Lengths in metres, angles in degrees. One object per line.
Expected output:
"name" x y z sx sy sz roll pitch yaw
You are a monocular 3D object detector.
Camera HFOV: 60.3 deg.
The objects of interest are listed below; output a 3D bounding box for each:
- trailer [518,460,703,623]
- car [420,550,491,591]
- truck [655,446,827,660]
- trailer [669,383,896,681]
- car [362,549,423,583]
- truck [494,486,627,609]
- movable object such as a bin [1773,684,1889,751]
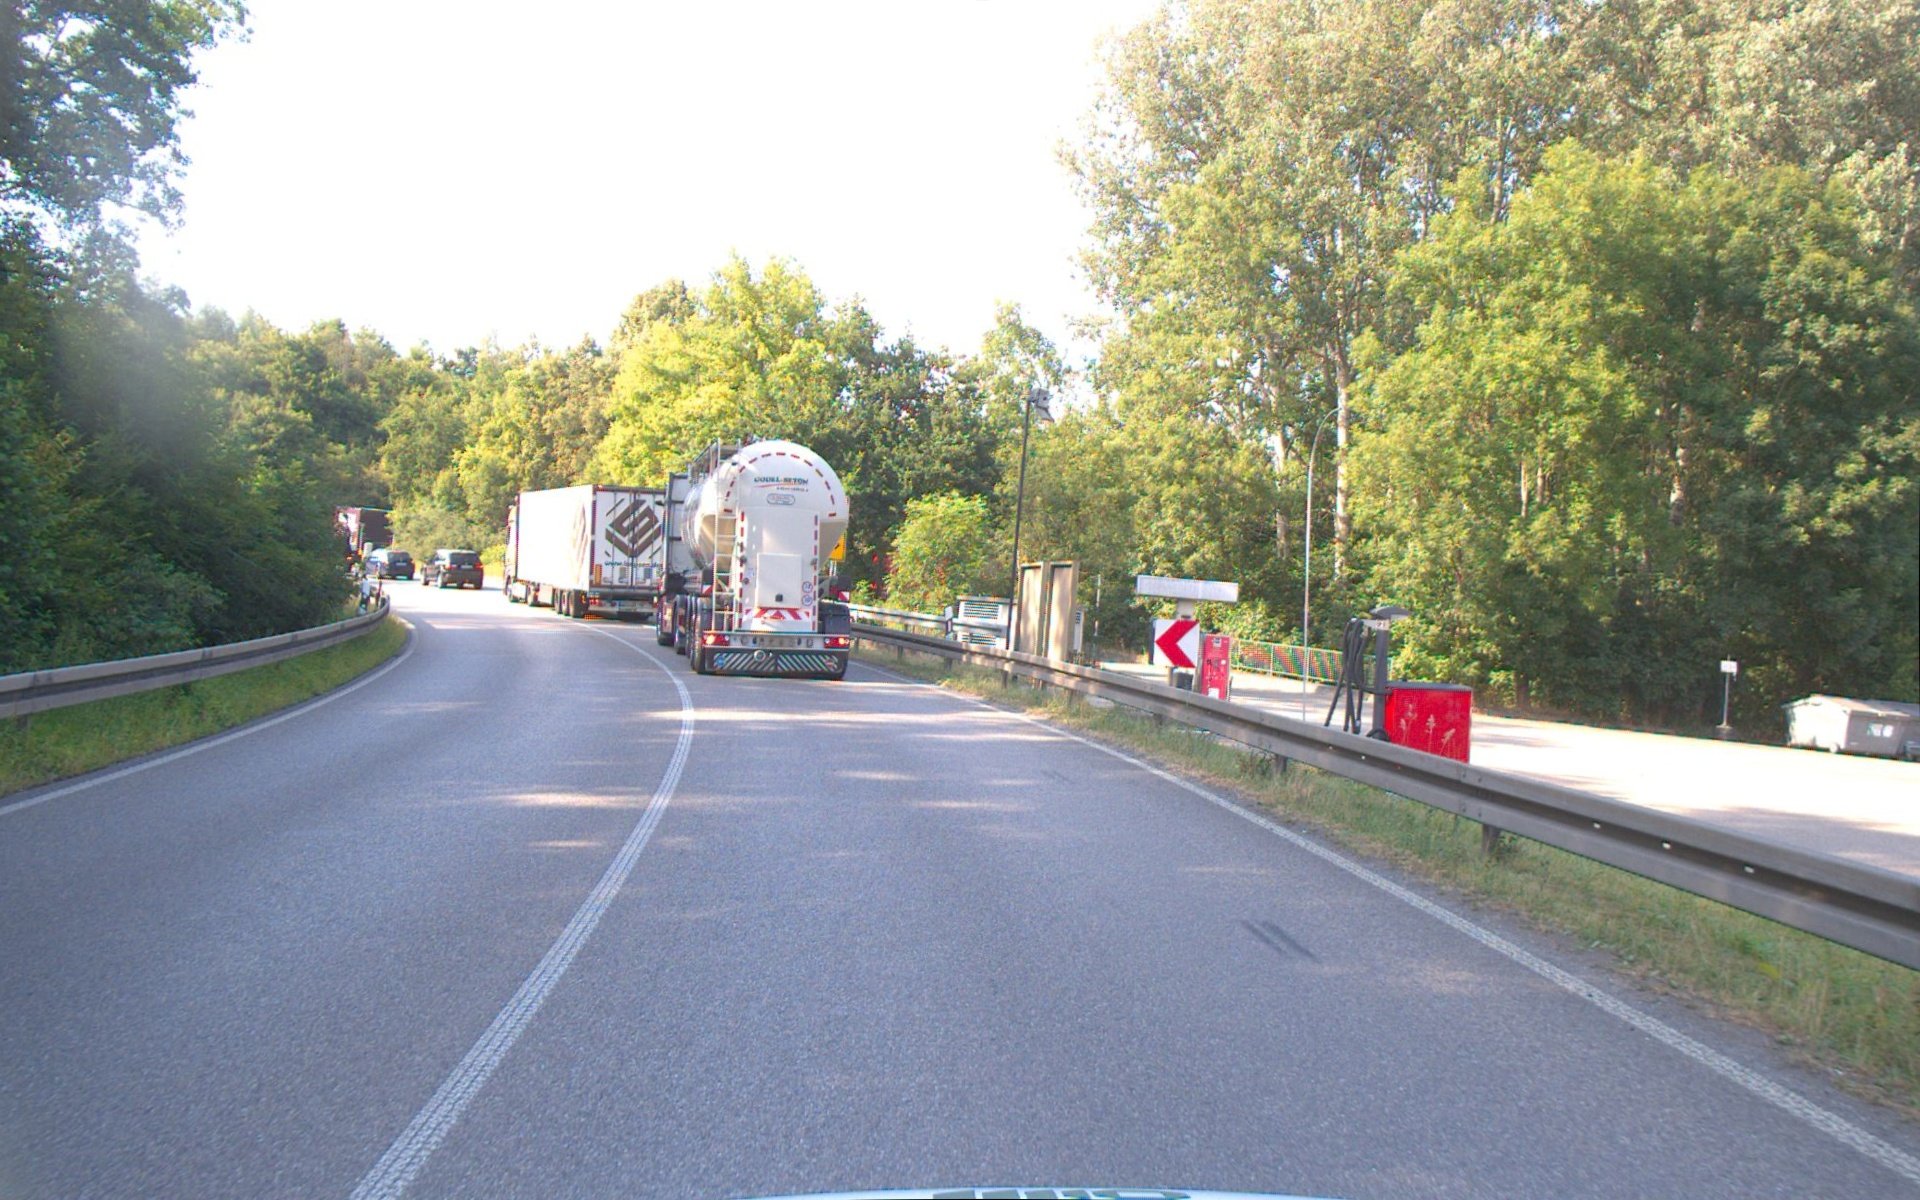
"trailer" -11.885 -1.834 54.891 3.497 4.591 12.895 3 0 -23
"car" -23.000 -1.347 75.304 1.853 1.656 3.950 4 0 -36
"truck" -4.923 -0.983 36.189 2.777 4.104 5.872 4 0 -15
"trailer" -3.628 -1.124 31.014 2.837 4.531 9.574 4 0 -13
"car" -28.547 -1.719 83.144 1.852 1.592 3.952 1 2 -35
"truck" -15.006 -1.910 61.752 3.407 4.157 6.438 3 0 -26
"movable object such as a bin" 23.057 3.092 43.841 1.245 1.444 2.547 6 -1 -15
